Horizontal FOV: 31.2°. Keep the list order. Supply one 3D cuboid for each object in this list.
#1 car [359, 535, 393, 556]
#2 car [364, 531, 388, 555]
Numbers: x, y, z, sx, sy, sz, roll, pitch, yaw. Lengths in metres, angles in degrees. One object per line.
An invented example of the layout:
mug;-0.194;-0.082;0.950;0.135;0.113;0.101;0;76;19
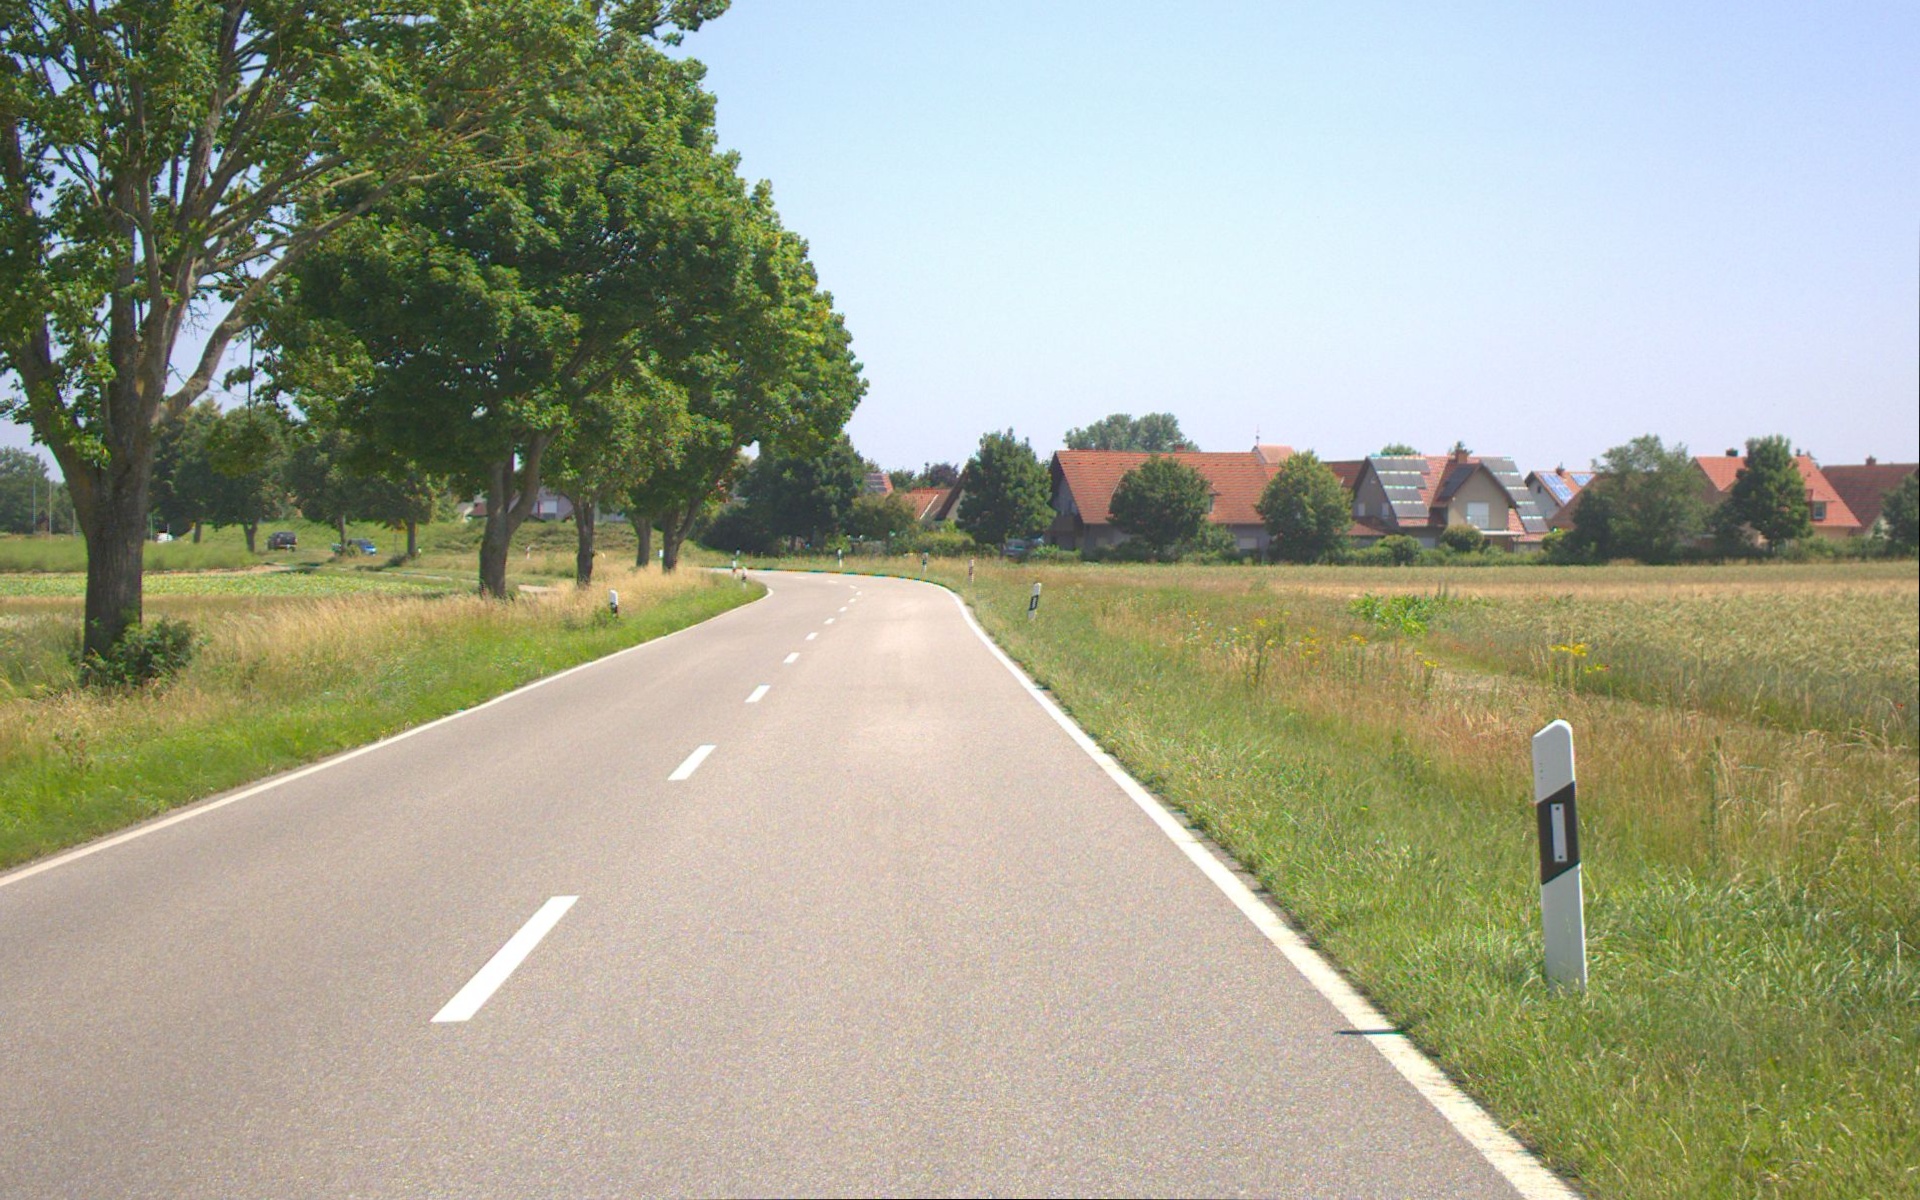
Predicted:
car;-42.842;-3.991;251.952;1.643;1.424;4.181;-3;2;-20
car;-42.314;-4.155;249.108;1.595;1.663;3.416;2;1;-12
